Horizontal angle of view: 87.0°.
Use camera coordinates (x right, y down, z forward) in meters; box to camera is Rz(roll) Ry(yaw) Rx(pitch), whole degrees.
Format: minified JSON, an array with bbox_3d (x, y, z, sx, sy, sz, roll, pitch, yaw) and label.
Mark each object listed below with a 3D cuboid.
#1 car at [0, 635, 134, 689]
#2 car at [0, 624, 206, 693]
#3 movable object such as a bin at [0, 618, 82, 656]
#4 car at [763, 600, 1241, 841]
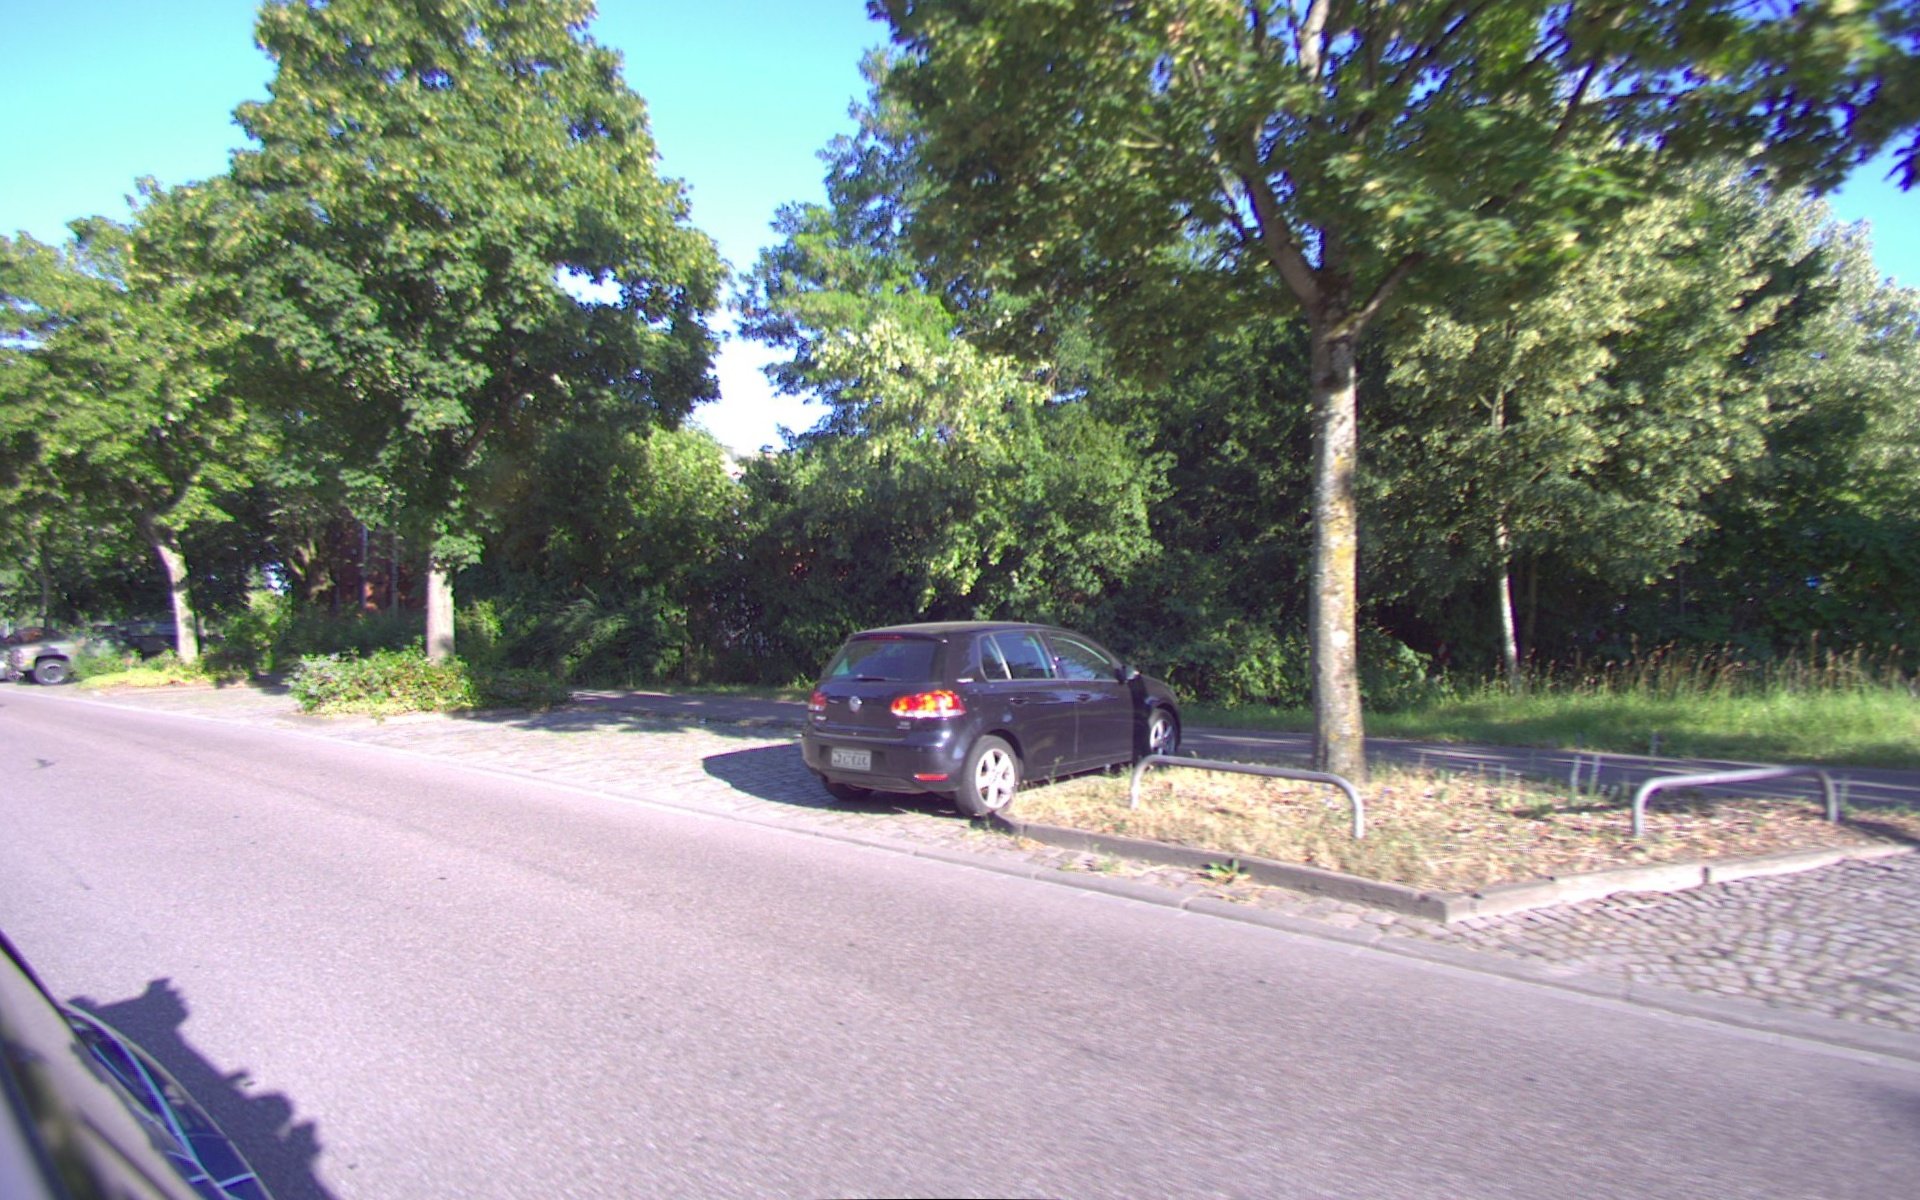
[{"bbox_3d":[-31.213,2.115,34.701,1.702,1.541,4.176,-2,1,35],"label":"car"},{"bbox_3d":[-27.719,1.814,32.677,2.169,2.035,4.961,-2,-2,35],"label":"car"},{"bbox_3d":[-68.113,2.728,74.553,4.729,2.685,2.168,0,-2,-7],"label":"movable object such as a bin"},{"bbox_3d":[0.612,0.813,8.907,1.998,1.490,4.316,-2,0,39],"label":"car"}]
